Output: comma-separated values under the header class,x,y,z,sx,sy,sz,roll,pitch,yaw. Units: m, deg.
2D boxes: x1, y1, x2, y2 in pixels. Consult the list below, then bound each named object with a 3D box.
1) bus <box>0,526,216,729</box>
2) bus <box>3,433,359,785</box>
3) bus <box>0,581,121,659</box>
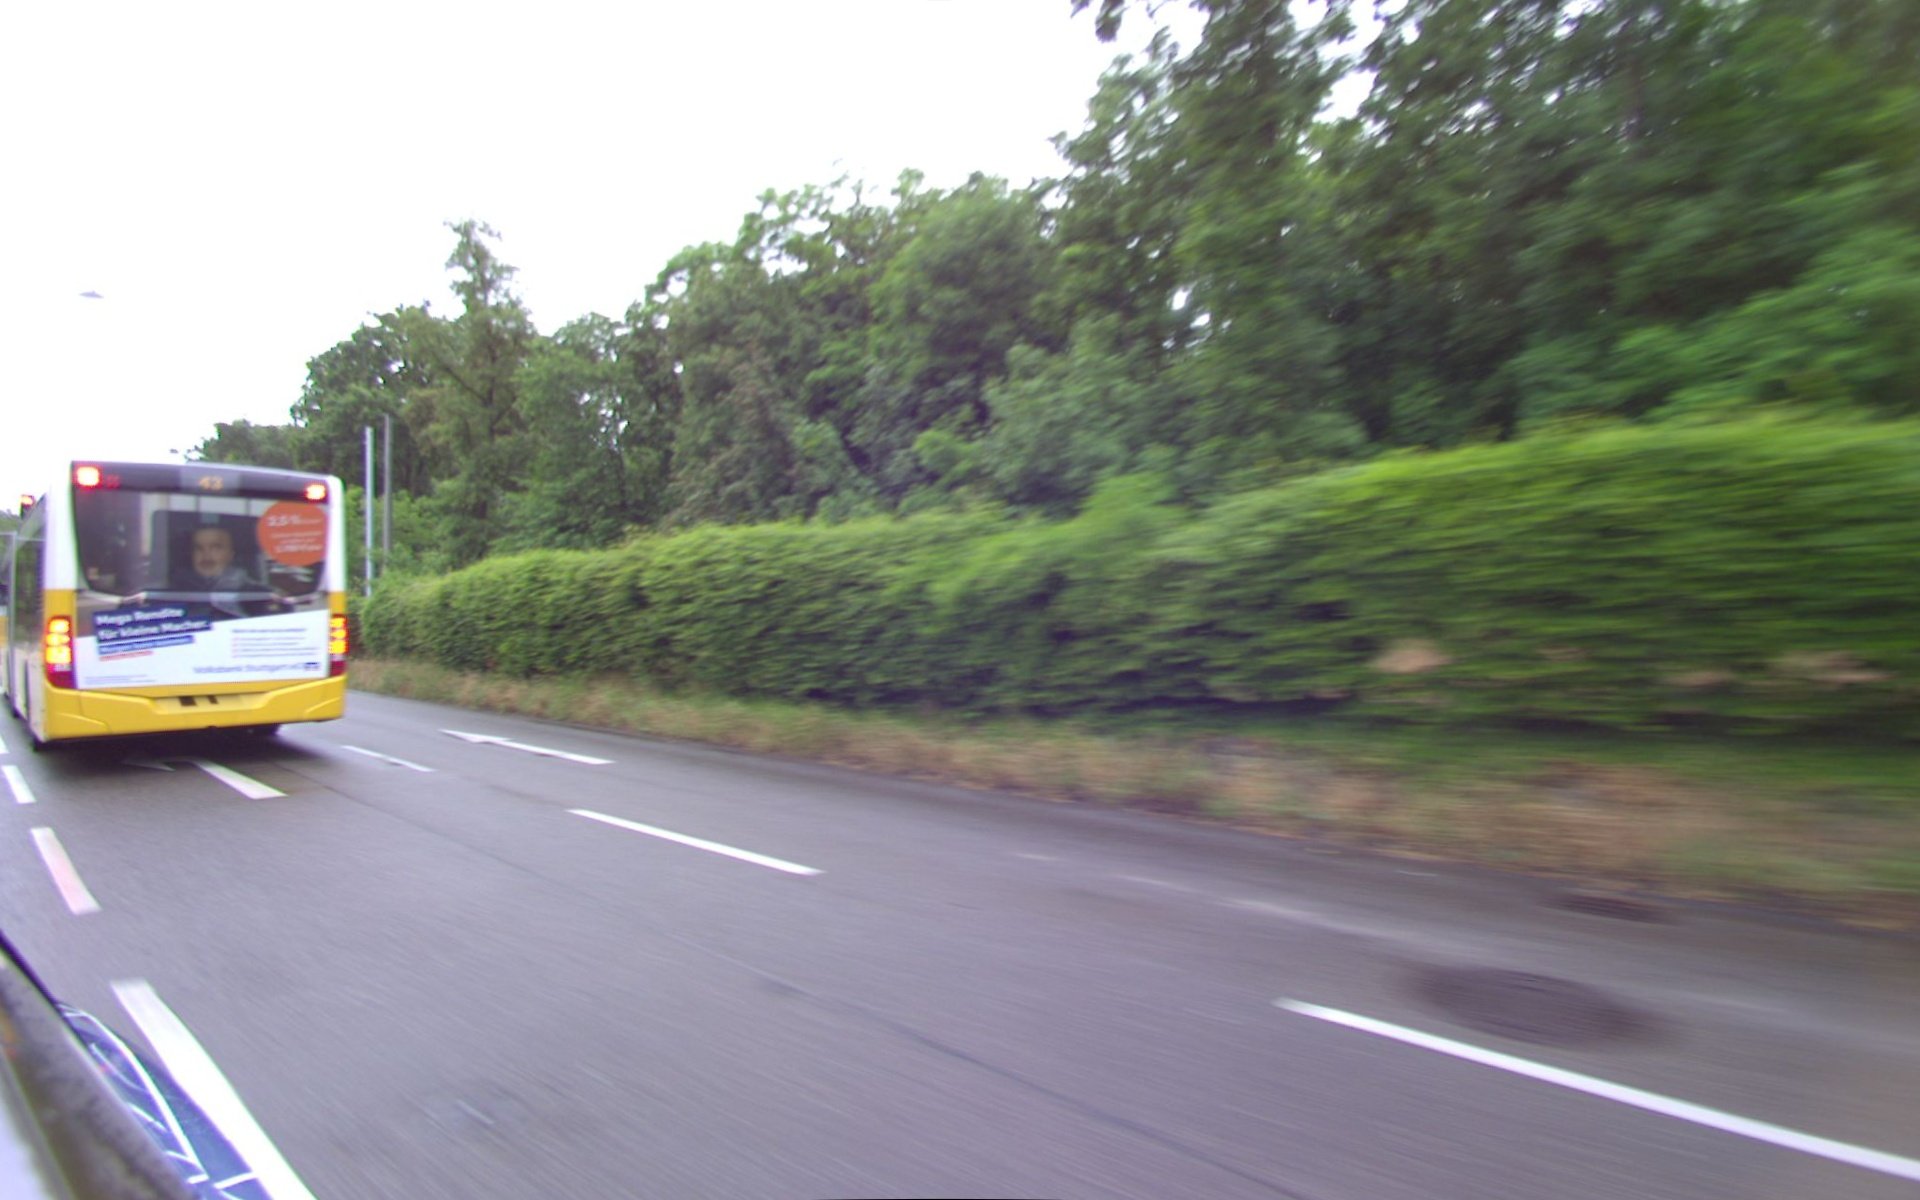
class,x,y,z,sx,sy,sz,roll,pitch,yaw
bus,-16.764,0.480,19.444,9.234,3.067,2.613,-1,-1,45
bus,-10.484,0.140,13.124,8.640,3.182,2.565,-1,-1,45
bus,-44.418,0.998,48.730,2.640,3.424,8.703,-1,-1,-14
